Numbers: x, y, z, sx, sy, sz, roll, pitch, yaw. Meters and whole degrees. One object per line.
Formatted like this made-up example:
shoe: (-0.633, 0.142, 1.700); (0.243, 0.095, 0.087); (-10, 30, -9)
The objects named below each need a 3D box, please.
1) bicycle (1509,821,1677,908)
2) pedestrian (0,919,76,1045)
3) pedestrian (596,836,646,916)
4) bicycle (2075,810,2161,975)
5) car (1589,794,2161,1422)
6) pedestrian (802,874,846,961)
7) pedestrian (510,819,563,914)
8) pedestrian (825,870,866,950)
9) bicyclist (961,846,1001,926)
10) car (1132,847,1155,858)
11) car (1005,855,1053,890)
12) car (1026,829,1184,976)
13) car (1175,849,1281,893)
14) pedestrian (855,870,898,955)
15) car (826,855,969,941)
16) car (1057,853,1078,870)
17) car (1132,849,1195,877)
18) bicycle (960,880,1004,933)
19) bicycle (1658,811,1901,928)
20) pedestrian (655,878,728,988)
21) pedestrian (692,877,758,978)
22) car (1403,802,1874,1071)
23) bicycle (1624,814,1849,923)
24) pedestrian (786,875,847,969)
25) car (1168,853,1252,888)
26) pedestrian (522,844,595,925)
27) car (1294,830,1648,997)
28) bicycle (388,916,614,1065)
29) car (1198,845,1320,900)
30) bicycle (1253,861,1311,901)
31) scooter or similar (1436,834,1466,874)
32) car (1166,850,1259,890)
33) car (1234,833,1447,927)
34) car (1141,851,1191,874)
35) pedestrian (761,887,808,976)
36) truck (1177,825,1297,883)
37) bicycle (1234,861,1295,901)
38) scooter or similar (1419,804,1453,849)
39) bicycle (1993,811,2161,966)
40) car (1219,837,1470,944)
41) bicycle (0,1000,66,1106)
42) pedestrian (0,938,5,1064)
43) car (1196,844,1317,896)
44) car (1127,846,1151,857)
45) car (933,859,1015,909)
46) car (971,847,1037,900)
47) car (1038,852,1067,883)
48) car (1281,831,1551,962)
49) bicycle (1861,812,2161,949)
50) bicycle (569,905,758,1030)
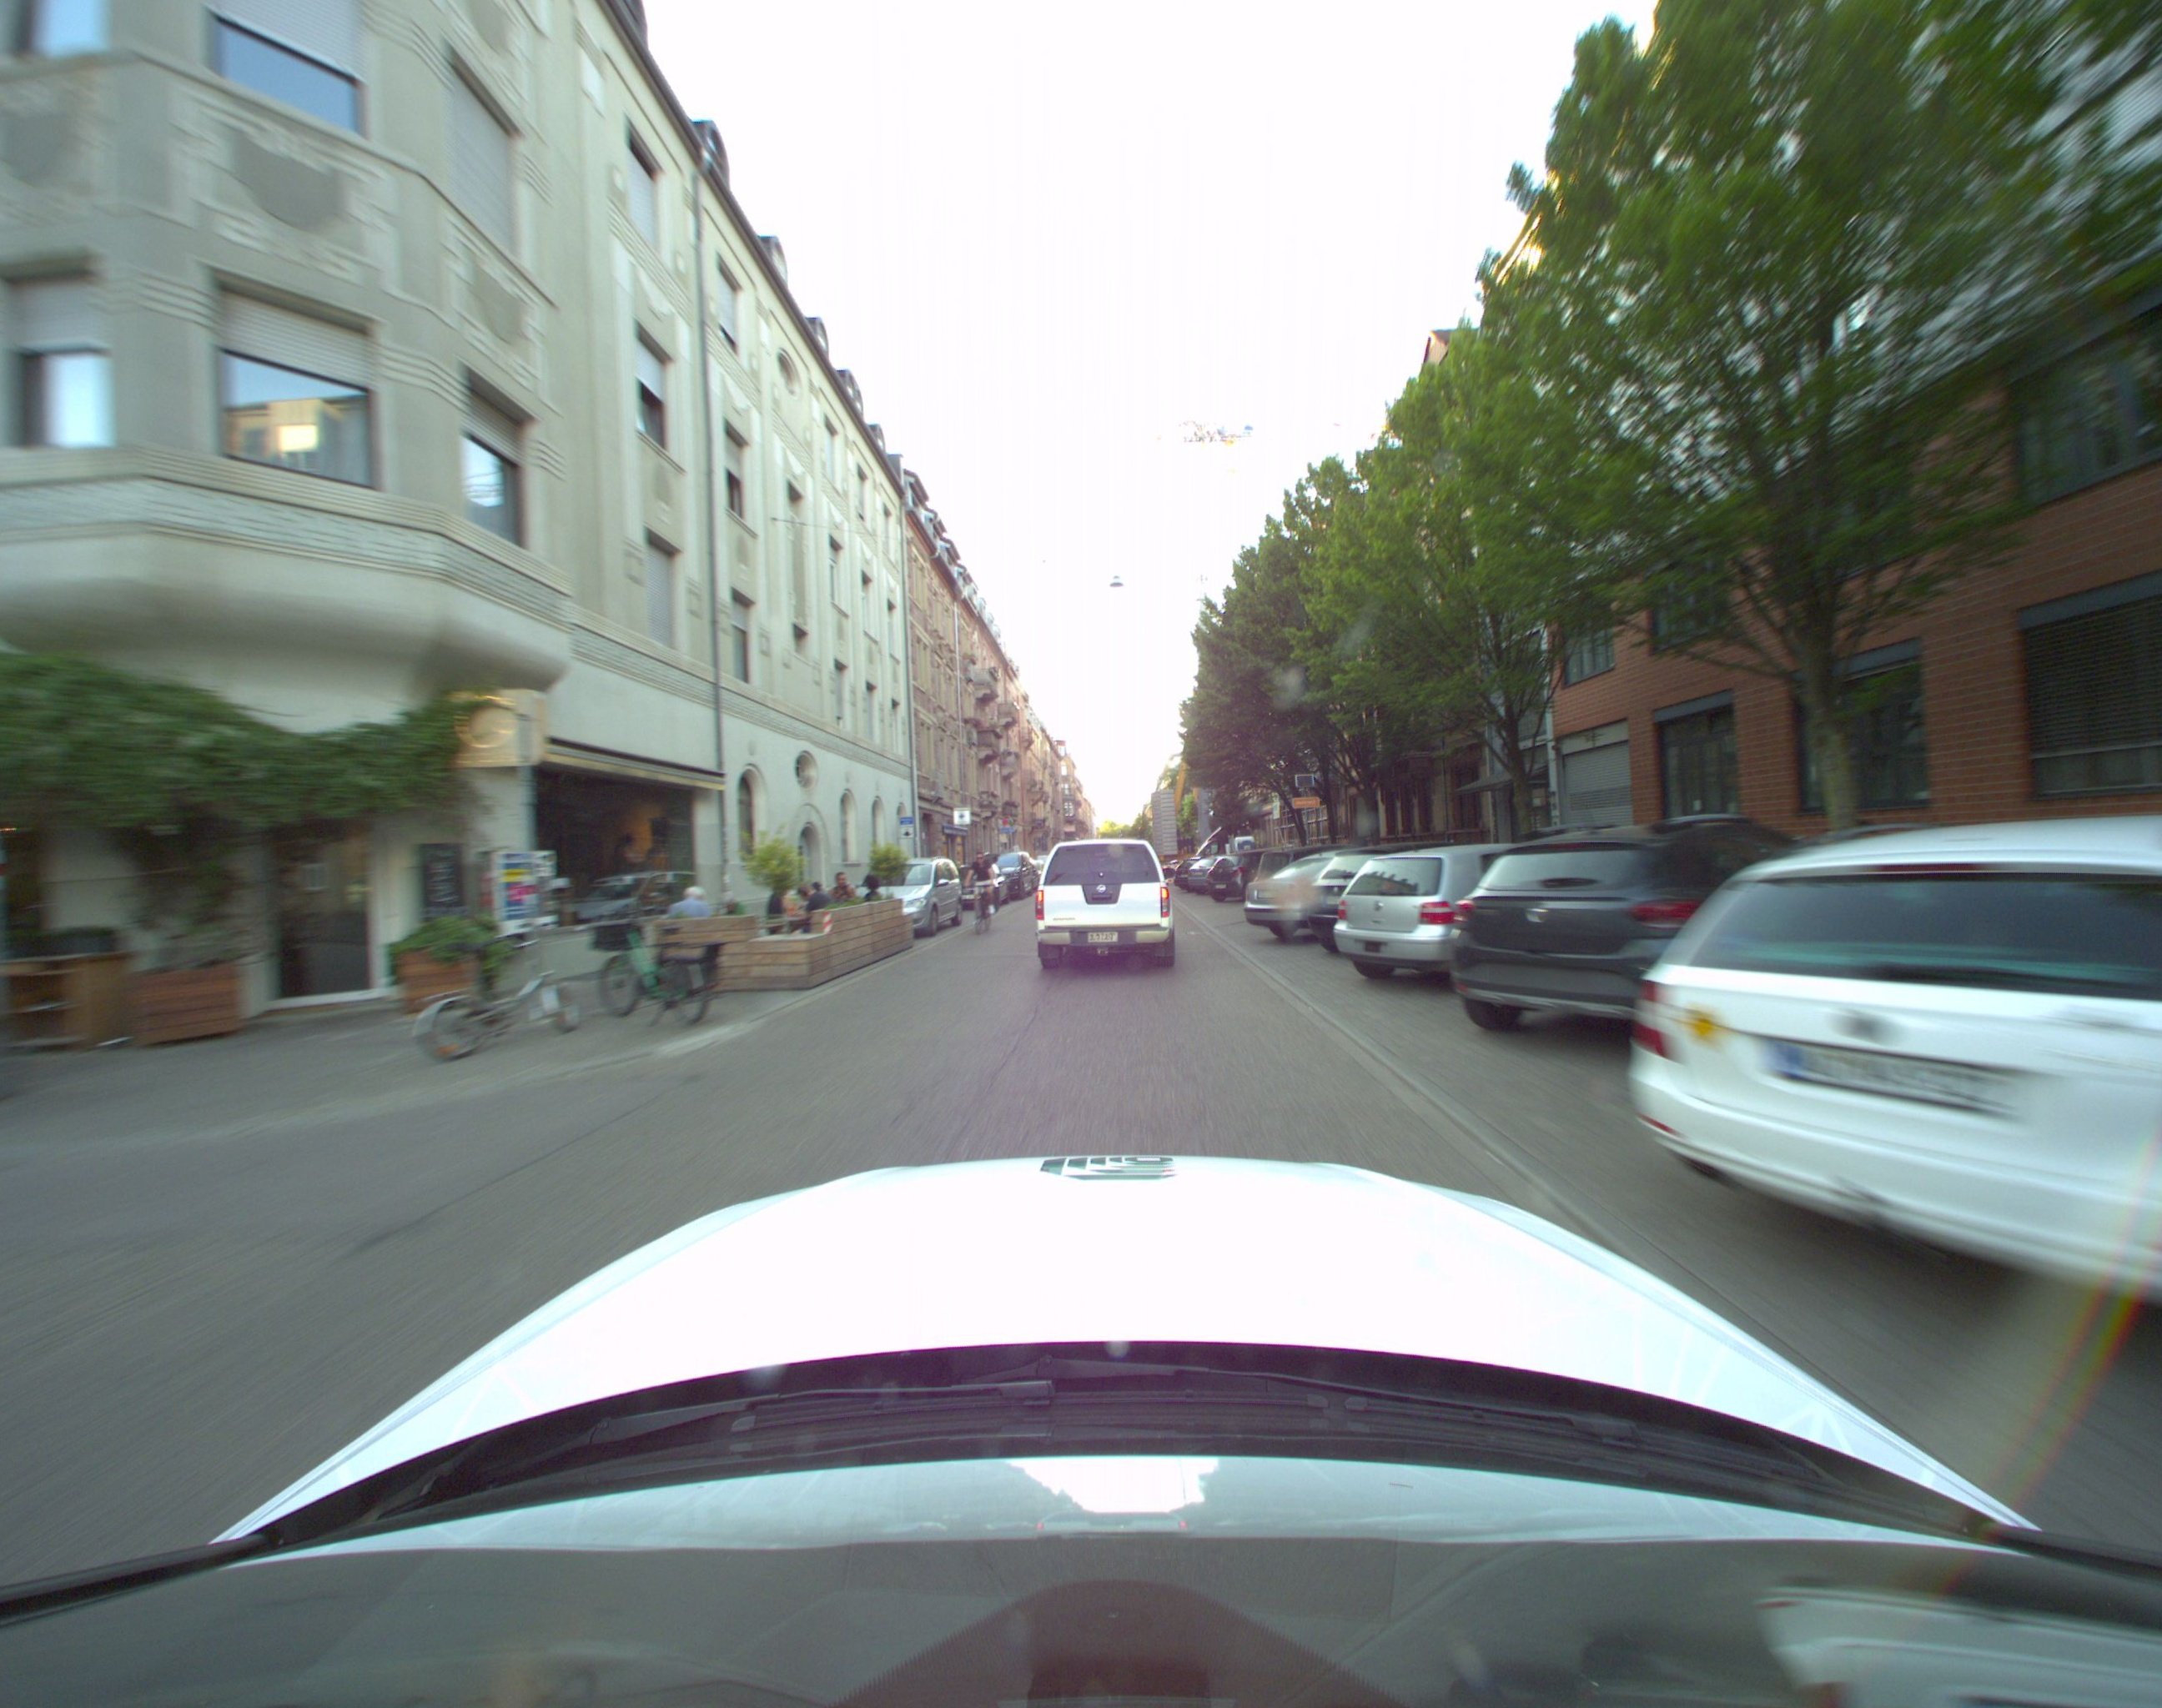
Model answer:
bicycle: (9.431, 0.202, 15.066); (2.523, 1.244, 0.600); (-8, -1, 4)
pedestrian: (-11.180, 1.321, 8.371); (0.688, 1.214, 0.779); (-3, -1, 3)
pedestrian: (-8.061, 0.378, 14.290); (0.536, 1.350, 0.519); (-2, -1, 3)
bicycle: (8.921, 0.215, 5.892); (2.522, 1.166, 0.563); (-3, -1, 4)
car: (4.141, 0.551, 3.400); (4.011, 1.537, 1.621); (-3, 0, -28)
pedestrian: (-4.179, 1.012, 13.251); (0.466, 1.350, 0.611); (-2, -1, 1)
pedestrian: (-9.705, 0.225, 14.526); (0.536, 1.654, 0.519); (-2, -1, 2)
pedestrian: (-4.114, 0.961, 14.271); (0.515, 1.350, 0.540); (-2, -1, 0)
bicyclist: (-2.174, 0.679, 17.827); (0.600, 1.685, 1.143); (-3, -1, 3)
car: (12.943, -0.252, 168.357); (4.566, 2.177, 1.822); (-2, 0, 5)
car: (-2.684, 0.913, 42.592); (1.896, 1.663, 4.072); (-3, 0, 4)
car: (0.471, 0.615, 12.536); (1.924, 1.794, 4.627); (-2, 0, 4)
car: (5.756, 0.632, 31.799); (3.851, 1.436, 1.744); (-4, 0, -32)
pedestrian: (-3.408, 0.961, 13.596); (0.482, 1.350, 0.669); (-2, -1, 1)
car: (-3.882, 0.863, 18.048); (1.986, 1.591, 4.316); (-3, 0, 2)
car: (-1.305, 0.732, 81.306); (1.784, 1.530, 4.003); (-2, 0, 3)
car: (5.710, 0.645, 56.331); (4.171, 1.780, 1.824); (-2, 0, 8)
bicycle: (-2.149, 1.122, 17.891); (0.612, 1.040, 1.905); (-3, 0, 3)
bicycle: (9.172, 0.206, 10.761); (2.522, 1.379, 0.600); (-3, -1, 4)
pedestrian: (-4.987, 0.994, 10.456); (0.535, 1.324, 0.705); (-2, -1, 3)
pedestrian: (-4.922, 1.000, 11.293); (0.535, 1.324, 0.705); (-2, -1, 3)
car: (4.517, 0.454, 6.521); (3.617, 1.580, 1.699); (-3, 0, -31)
bicycle: (9.181, 0.211, 11.476); (2.522, 1.379, 0.600); (-3, -1, 4)
pedestrian: (-3.925, 0.991, 12.124); (0.607, 1.324, 0.771); (-2, -1, 1)
car: (5.935, 0.737, 37.360); (3.569, 1.464, 1.596); (-2, 0, -29)
pedestrian: (-7.747, 0.439, 12.097); (0.555, 1.154, 0.748); (-2, -1, 1)
car: (4.443, 0.561, 9.281); (3.612, 1.482, 1.708); (-3, 0, -25)
bicycle: (-5.099, 1.146, 7.315); (0.420, 1.012, 1.726); (-2, 1, 16)
car: (5.664, 0.558, 25.861); (3.417, 1.474, 1.758); (-4, 1, -29)
bicycle: (5.880, 0.806, 23.960); (0.560, 1.107, 1.841); (-1, -2, -26)
scooter or similar: (11.796, -0.005, 26.009); (0.408, 1.218, 1.782); (-8, -1, 14)
car: (5.615, 0.665, 34.514); (3.911, 1.530, 1.619); (-1, 0, -37)
car: (5.490, 0.505, 17.327); (3.997, 1.636, 1.748); (-4, 0, -17)
car: (7.258, 0.713, 69.764); (4.175, 1.780, 1.822); (-2, 0, 5)
pedestrian: (-4.736, 1.229, 13.038); (0.466, 1.350, 0.611); (-2, -1, 1)
truck: (8.626, 0.048, 45.481); (6.292, 2.977, 2.266); (-2, -3, 4)
bicycle: (5.300, 0.794, 23.630); (0.695, 1.107, 1.841); (-2, -2, -26)
scooter or similar: (10.669, -0.807, 24.534); (0.464, 1.217, 1.782); (-10, -2, 14)
bicycle: (8.990, 0.228, 6.523); (2.522, 1.166, 0.563); (-3, -1, 4)
car: (4.770, 0.575, 14.554); (4.402, 1.534, 1.789); (-3, 0, -32)
bicycle: (-8.174, 1.526, 5.478); (0.422, 0.695, 1.779); (-2, 2, 0)
pedestrian: (-10.727, 1.428, 7.598); (0.528, 1.214, 0.607); (-3, -1, 3)
car: (6.232, 0.557, 28.988); (3.842, 1.530, 1.749); (-4, -1, -23)
car: (11.713, -0.479, 164.580); (4.566, 2.177, 1.822); (-2, 0, 5)
car: (-3.468, 0.946, 27.200); (1.904, 1.472, 4.536); (-2, 0, 2)
car: (-3.013, 0.724, 32.937); (1.897, 1.925, 4.951); (-2, 0, 3)
car: (-1.812, 0.855, 52.467); (1.553, 1.921, 3.858); (-1, 0, 2)
car: (4.858, 0.533, 11.766); (3.612, 1.534, 1.549); (-3, 0, -26)
bicycle: (9.055, 0.240, 7.756); (2.522, 1.166, 0.563); (-3, -1, 4)
bicycle: (-4.180, 1.074, 8.098); (2.090, 1.095, 0.504); (-2, 1, 27)
